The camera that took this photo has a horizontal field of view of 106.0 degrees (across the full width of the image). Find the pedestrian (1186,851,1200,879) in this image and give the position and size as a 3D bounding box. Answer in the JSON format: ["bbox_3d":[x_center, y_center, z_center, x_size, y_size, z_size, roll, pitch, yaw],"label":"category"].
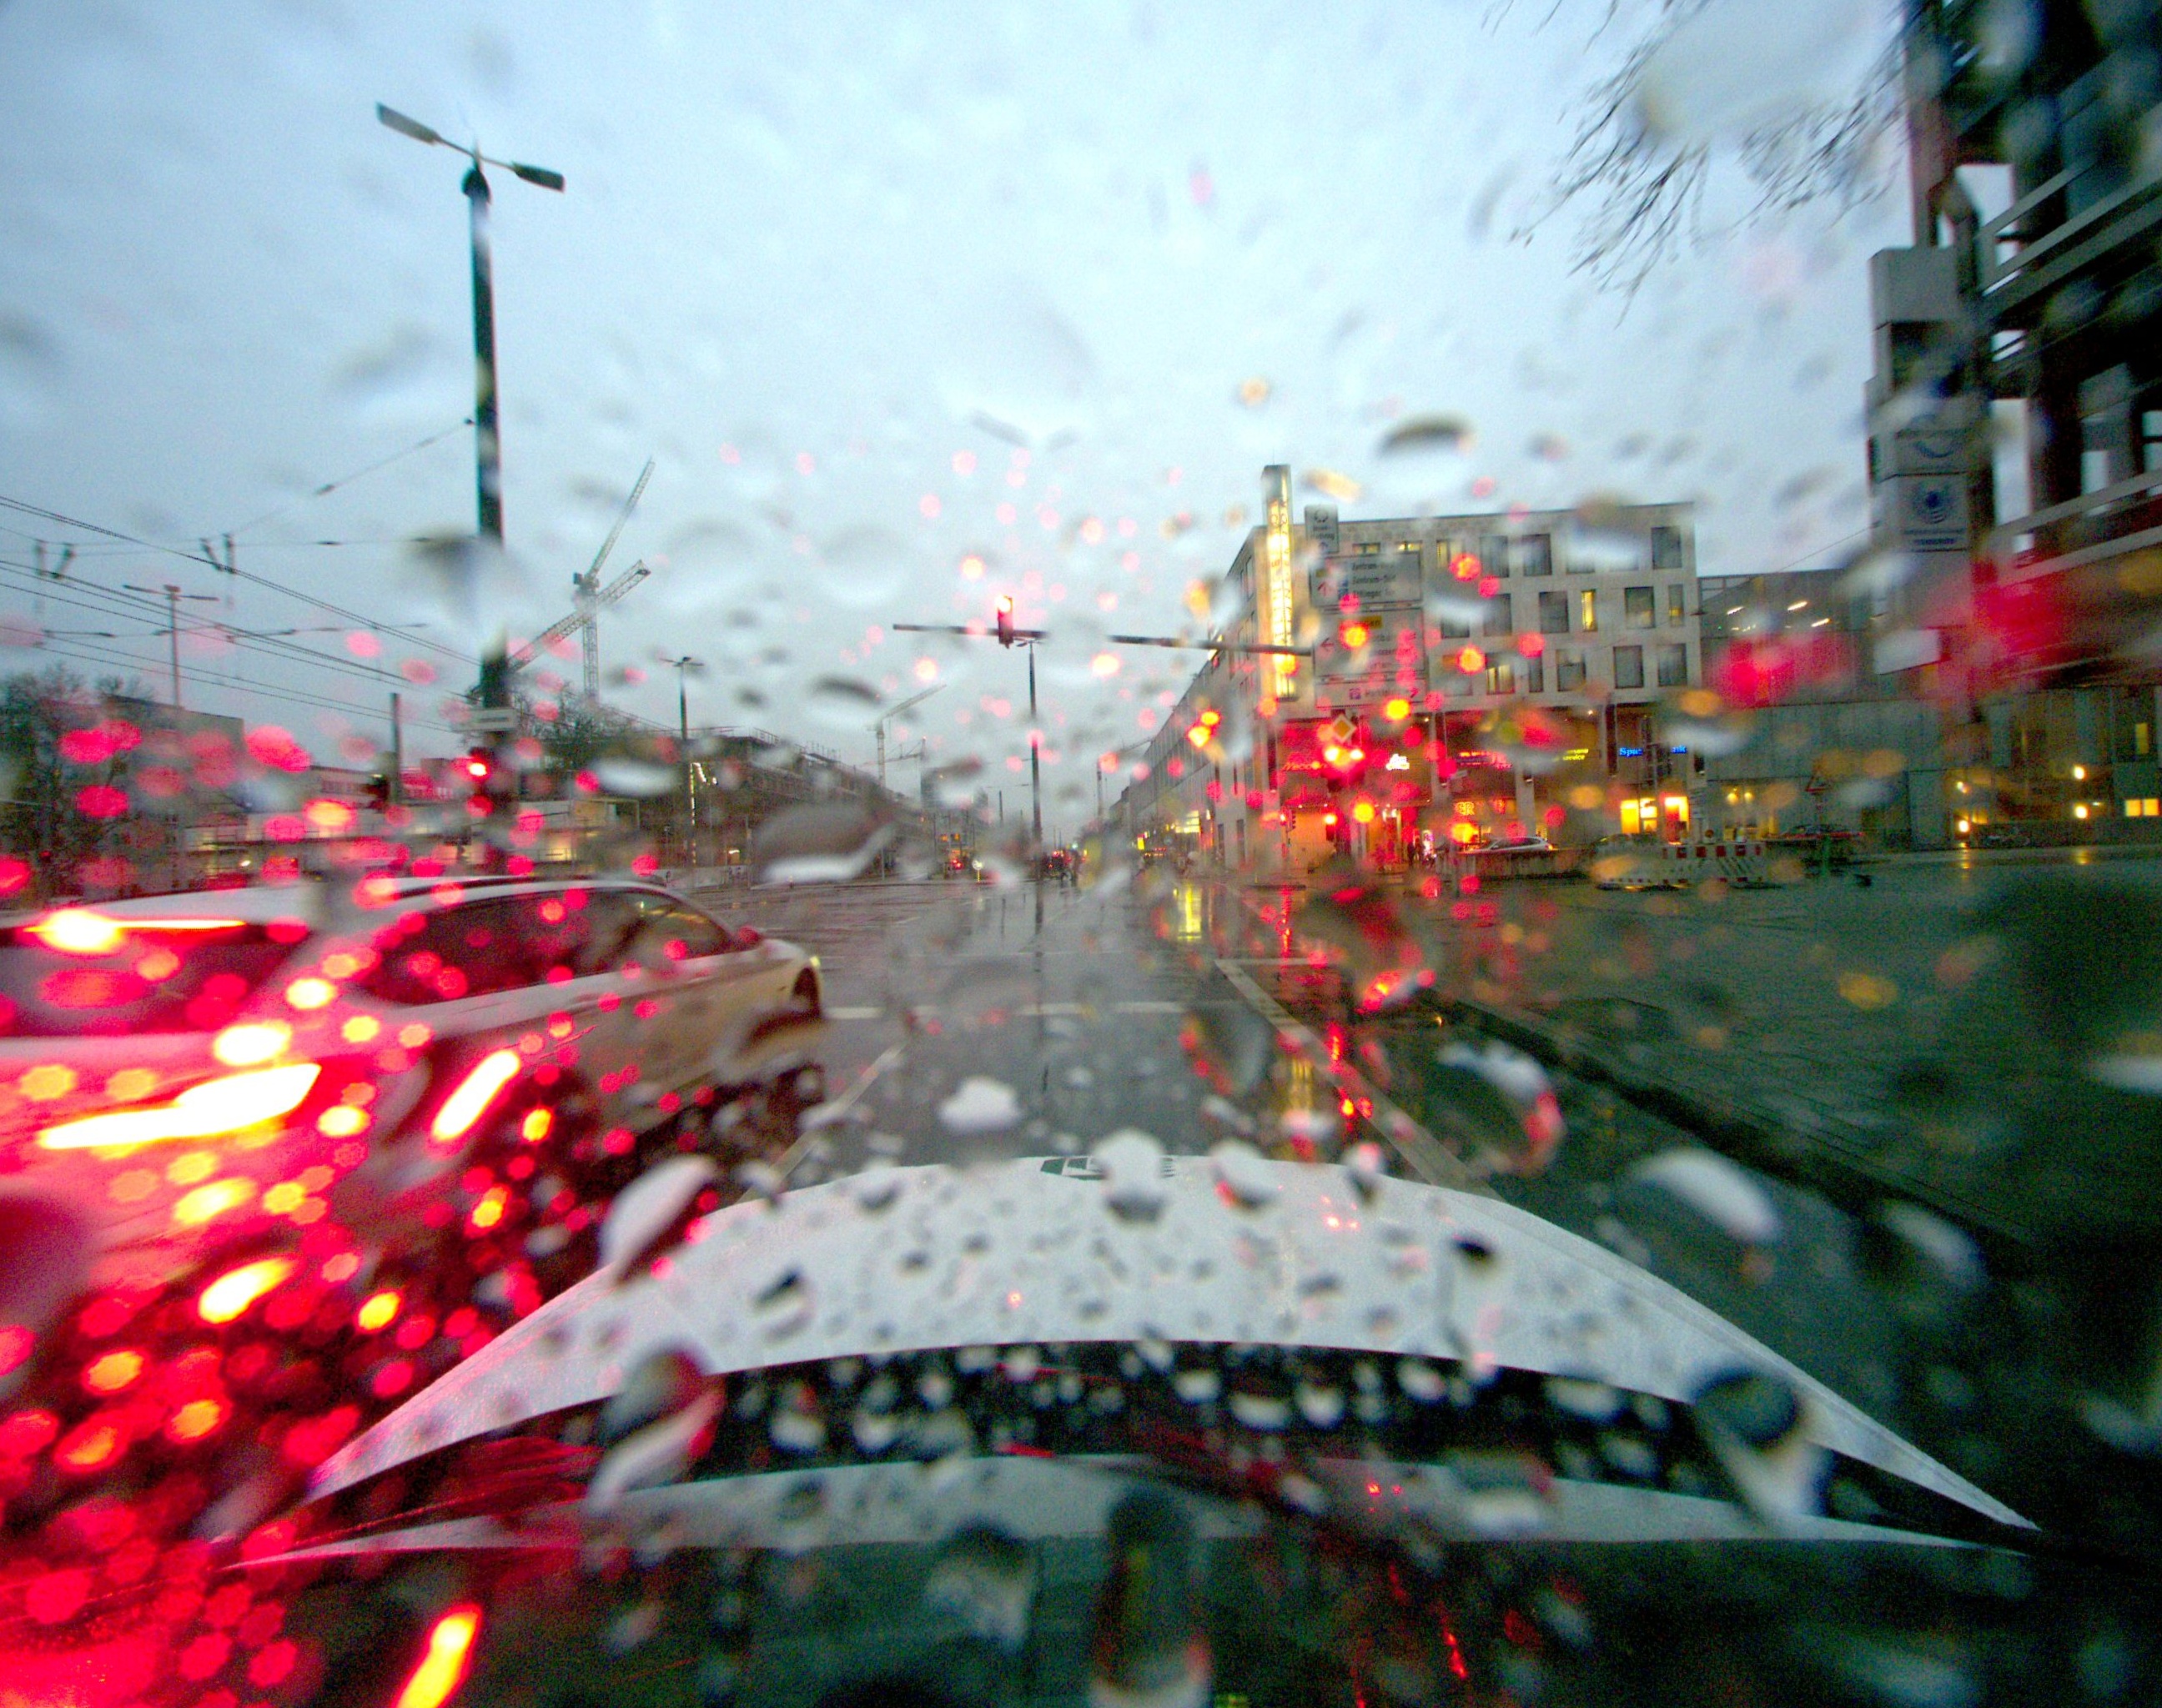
[{"bbox_3d":[7.139,0.689,51.916,0.700,1.760,0.668,-2,0,2],"label":"pedestrian"}]

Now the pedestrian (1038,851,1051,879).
[{"bbox_3d":[-2.217,0.674,49.354,0.704,1.619,0.613,-2,0,0],"label":"pedestrian"}]

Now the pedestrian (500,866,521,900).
[{"bbox_3d":[-35.607,1.825,50.851,0.791,2.014,0.745,-2,-4,-8],"label":"pedestrian"}]

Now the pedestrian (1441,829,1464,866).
[{"bbox_3d":[16.144,-0.285,35.377,0.774,1.595,0.616,-3,0,17],"label":"pedestrian"}]

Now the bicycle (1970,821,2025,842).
[{"bbox_3d":[49.151,-1.180,43.692,0.613,1.033,2.138,-3,0,4],"label":"bicycle"}]

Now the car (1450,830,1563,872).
[{"bbox_3d":[19.766,-0.137,37.971,4.282,1.761,1.709,-3,0,5],"label":"car"}]

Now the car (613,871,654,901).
[{"bbox_3d":[-33.198,2.358,60.452,1.760,2.013,3.978,-2,0,-16],"label":"car"}]

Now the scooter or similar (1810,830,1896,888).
[{"bbox_3d":[16.046,0.102,16.963,0.603,1.130,1.236,-2,0,2],"label":"scooter or similar"}]

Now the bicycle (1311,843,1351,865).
[{"bbox_3d":[16.605,-0.015,54.036,2.419,1.329,0.634,-2,0,-3],"label":"bicycle"}]

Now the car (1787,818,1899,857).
[{"bbox_3d":[35.102,-0.731,37.576,3.558,1.582,1.676,-3,-1,0],"label":"car"}]

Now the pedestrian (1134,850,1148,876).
[{"bbox_3d":[3.845,0.564,52.222,0.736,1.667,0.402,-3,0,14],"label":"pedestrian"}]

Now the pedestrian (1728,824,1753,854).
[{"bbox_3d":[36.621,-0.803,45.234,0.791,1.631,0.709,-1,-1,2],"label":"pedestrian"}]

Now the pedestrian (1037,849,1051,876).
[{"bbox_3d":[-2.329,0.531,51.013,0.703,1.619,0.681,-2,0,3],"label":"pedestrian"}]

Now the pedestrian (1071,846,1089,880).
[{"bbox_3d":[-0.072,0.546,48.831,0.781,2.013,0.606,-2,-1,-36],"label":"pedestrian"}]

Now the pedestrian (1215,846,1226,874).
[{"bbox_3d":[9.204,0.394,53.758,0.615,1.760,0.482,-2,0,2],"label":"pedestrian"}]

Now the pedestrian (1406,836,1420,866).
[{"bbox_3d":[18.615,-0.161,45.706,0.530,1.685,0.552,-3,-1,40],"label":"pedestrian"}]

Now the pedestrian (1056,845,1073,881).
[{"bbox_3d":[-0.966,0.524,47.806,0.691,2.087,0.606,-2,-1,-38],"label":"pedestrian"}]

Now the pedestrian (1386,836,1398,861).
[{"bbox_3d":[21.593,-0.354,56.558,0.530,1.717,0.505,-3,-1,40],"label":"pedestrian"}]

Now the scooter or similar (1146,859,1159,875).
[{"bbox_3d":[4.579,0.854,52.050,0.736,0.993,0.402,-3,0,14],"label":"scooter or similar"}]

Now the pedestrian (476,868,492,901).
[{"bbox_3d":[-36.699,1.869,50.068,0.507,2.014,0.638,-4,-3,-8],"label":"pedestrian"}]

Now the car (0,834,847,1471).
[{"bbox_3d":[-3.018,0.758,4.439,1.903,1.520,4.924,-2,0,1],"label":"car"}]

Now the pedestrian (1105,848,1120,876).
[{"bbox_3d":[1.941,0.487,50.437,0.827,1.679,0.620,-2,0,2],"label":"pedestrian"}]

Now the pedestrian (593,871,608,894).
[{"bbox_3d":[-32.554,1.918,55.220,0.646,1.529,0.791,-3,-1,-18],"label":"pedestrian"}]

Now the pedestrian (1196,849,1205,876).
[{"bbox_3d":[8.000,0.576,54.411,0.510,1.760,0.374,-2,0,2],"label":"pedestrian"}]

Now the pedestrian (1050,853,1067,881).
[{"bbox_3d":[-1.362,0.793,49.683,0.808,1.619,0.542,-3,-1,40],"label":"pedestrian"}]

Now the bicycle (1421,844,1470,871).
[{"bbox_3d":[15.853,0.156,35.472,1.831,1.093,0.620,-3,-1,17],"label":"bicycle"}]

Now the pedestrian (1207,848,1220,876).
[{"bbox_3d":[8.590,0.507,52.740,0.700,1.760,0.652,-2,0,2],"label":"pedestrian"}]

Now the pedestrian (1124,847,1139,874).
[{"bbox_3d":[3.177,0.411,51.405,0.840,1.688,0.677,-2,0,1],"label":"pedestrian"}]

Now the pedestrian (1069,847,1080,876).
[{"bbox_3d":[-0.413,0.474,51.404,0.617,1.746,0.612,-2,0,-3],"label":"pedestrian"}]

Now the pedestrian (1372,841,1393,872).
[{"bbox_3d":[15.485,0.121,41.780,0.812,1.570,0.536,-2,0,-2],"label":"pedestrian"}]

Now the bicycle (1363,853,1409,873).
[{"bbox_3d":[15.637,0.444,41.786,2.122,0.991,0.541,-1,-1,-2],"label":"bicycle"}]
